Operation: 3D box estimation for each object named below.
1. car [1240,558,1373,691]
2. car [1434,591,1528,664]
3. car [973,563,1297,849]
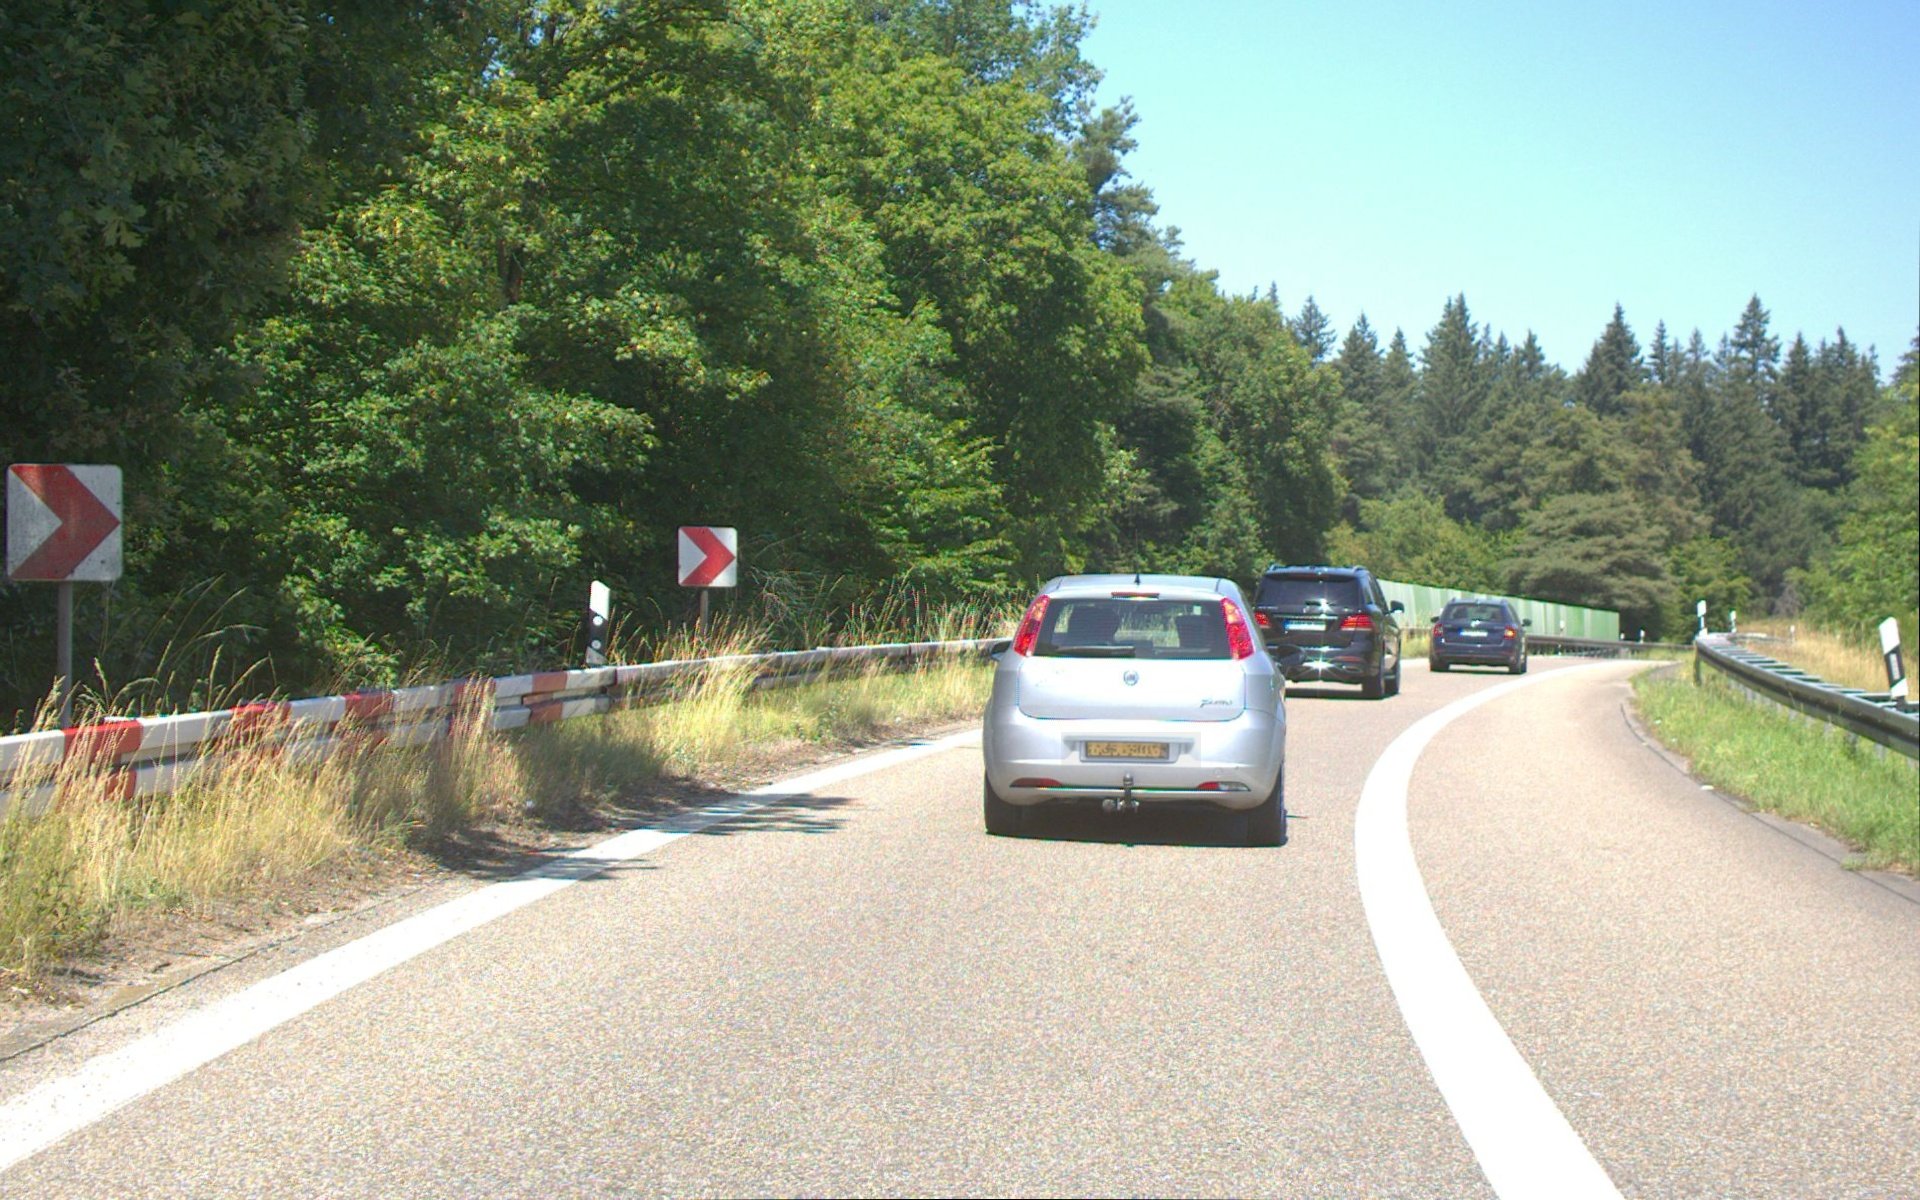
[{"bbox_3d":[4.699,0.310,46.298,1.641,1.648,3.573,2,0,7],"label":"car"},{"bbox_3d":[10.225,0.519,67.334,1.641,1.338,3.572,2,0,11],"label":"car"},{"bbox_3d":[1.100,0.561,20.104,1.641,1.463,3.418,2,0,6],"label":"car"}]
